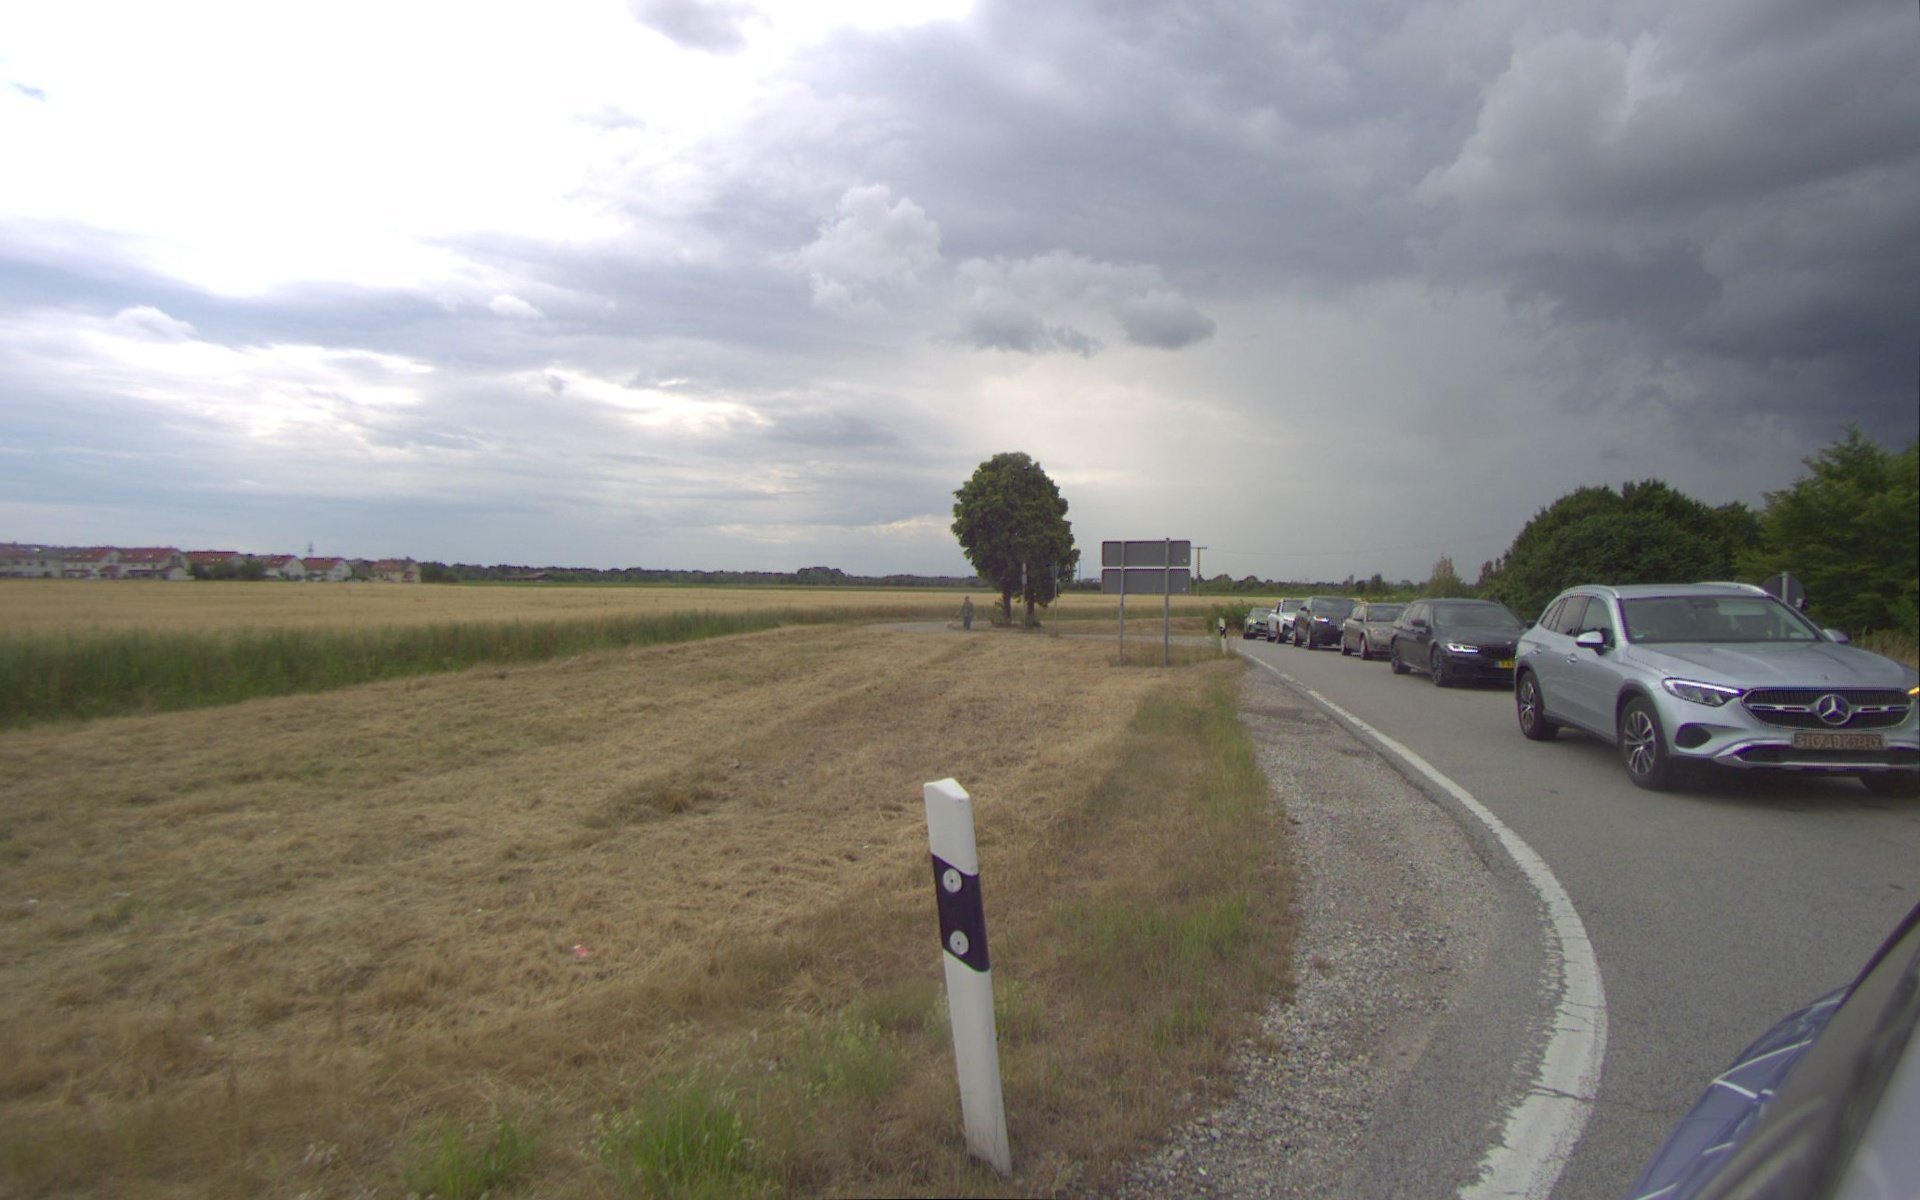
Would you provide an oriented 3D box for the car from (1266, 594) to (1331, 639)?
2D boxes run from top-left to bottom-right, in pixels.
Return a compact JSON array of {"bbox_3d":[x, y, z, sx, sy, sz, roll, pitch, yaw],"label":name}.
[{"bbox_3d":[12.709,0.580,38.254,1.695,1.513,4.624,-2,0,11],"label":"car"}]

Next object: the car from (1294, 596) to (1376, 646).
[{"bbox_3d":[11.638,0.606,31.653,1.695,1.370,4.200,-2,0,11],"label":"car"}]

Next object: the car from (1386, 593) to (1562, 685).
[{"bbox_3d":[9.043,0.609,18.231,1.696,1.370,4.677,-2,0,13],"label":"car"}]

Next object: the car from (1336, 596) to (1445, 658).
[{"bbox_3d":[10.865,0.629,25.817,1.695,1.370,4.200,1,1,11],"label":"car"}]

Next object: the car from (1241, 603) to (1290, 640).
[{"bbox_3d":[13.998,0.941,46.545,1.695,1.513,4.200,-2,0,11],"label":"car"}]

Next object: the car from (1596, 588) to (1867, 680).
[{"bbox_3d":[14.517,0.561,19.432,1.785,1.425,4.315,1,2,-1],"label":"car"}]

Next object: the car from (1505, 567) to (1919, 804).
[{"bbox_3d":[6.632,0.559,9.078,1.967,1.606,4.376,-2,0,14],"label":"car"}]

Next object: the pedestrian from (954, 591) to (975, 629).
[{"bbox_3d":[0.194,0.444,44.114,0.758,1.631,0.946,1,0,-7],"label":"pedestrian"}]
